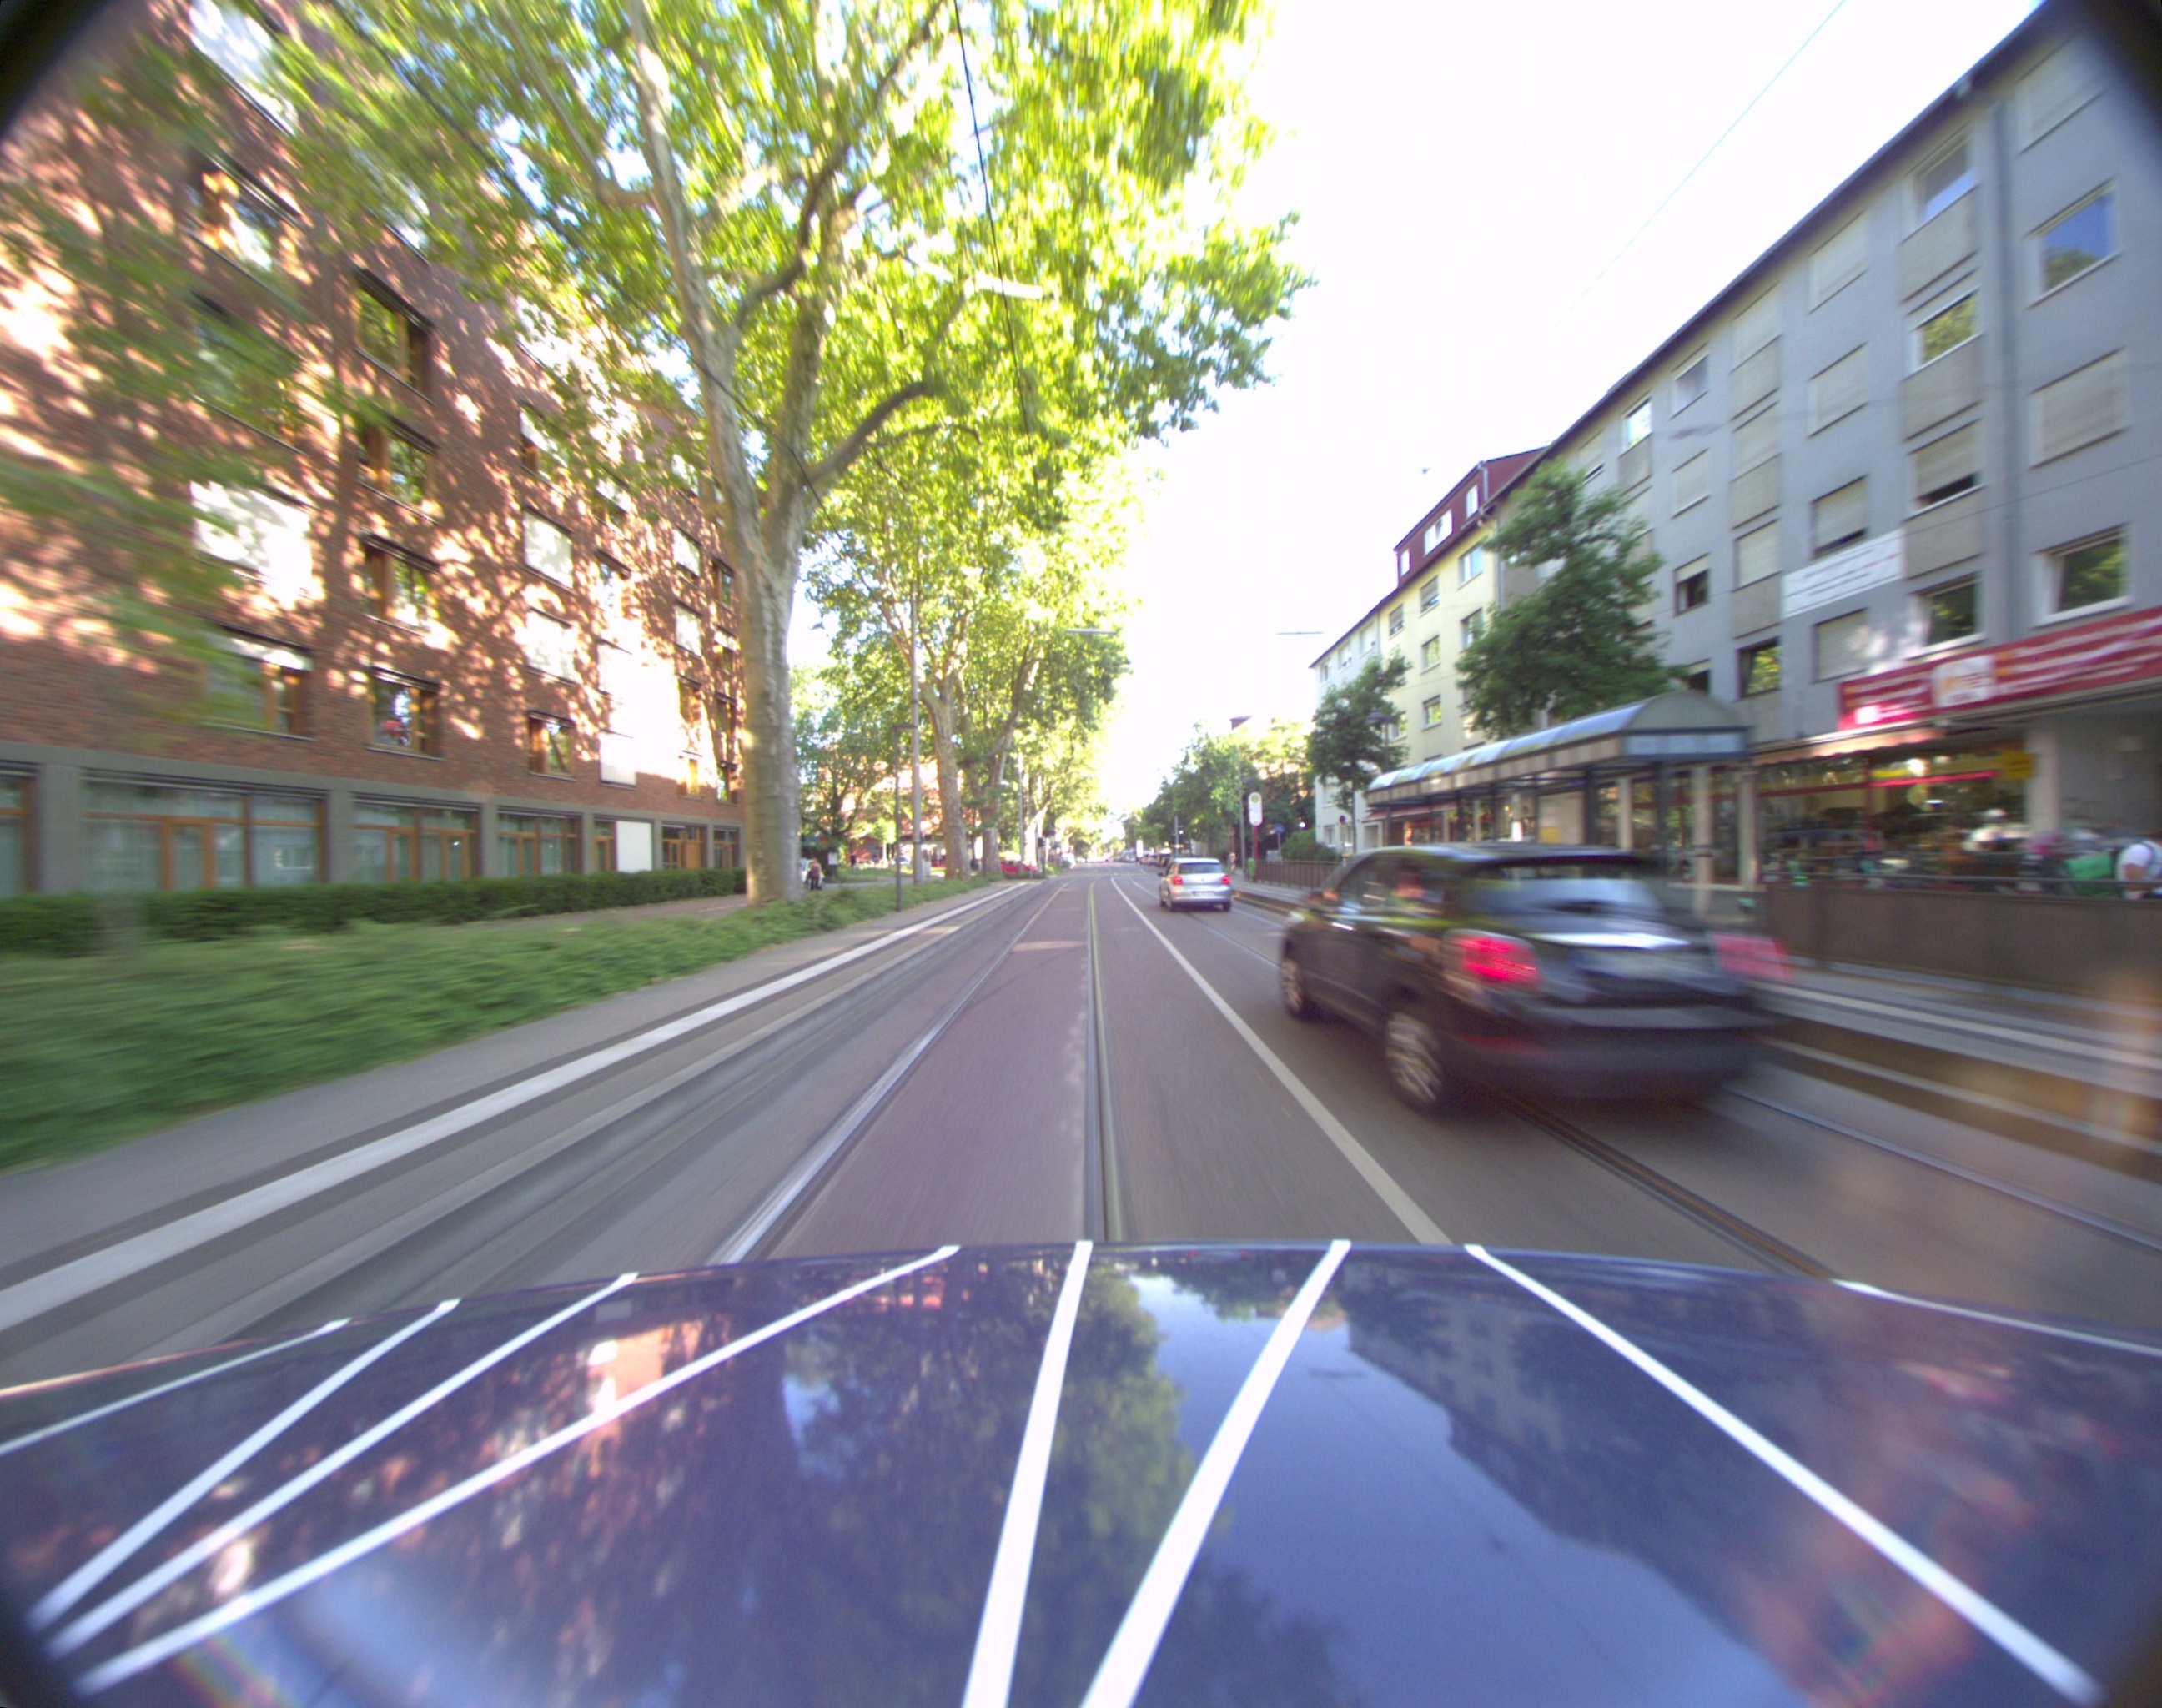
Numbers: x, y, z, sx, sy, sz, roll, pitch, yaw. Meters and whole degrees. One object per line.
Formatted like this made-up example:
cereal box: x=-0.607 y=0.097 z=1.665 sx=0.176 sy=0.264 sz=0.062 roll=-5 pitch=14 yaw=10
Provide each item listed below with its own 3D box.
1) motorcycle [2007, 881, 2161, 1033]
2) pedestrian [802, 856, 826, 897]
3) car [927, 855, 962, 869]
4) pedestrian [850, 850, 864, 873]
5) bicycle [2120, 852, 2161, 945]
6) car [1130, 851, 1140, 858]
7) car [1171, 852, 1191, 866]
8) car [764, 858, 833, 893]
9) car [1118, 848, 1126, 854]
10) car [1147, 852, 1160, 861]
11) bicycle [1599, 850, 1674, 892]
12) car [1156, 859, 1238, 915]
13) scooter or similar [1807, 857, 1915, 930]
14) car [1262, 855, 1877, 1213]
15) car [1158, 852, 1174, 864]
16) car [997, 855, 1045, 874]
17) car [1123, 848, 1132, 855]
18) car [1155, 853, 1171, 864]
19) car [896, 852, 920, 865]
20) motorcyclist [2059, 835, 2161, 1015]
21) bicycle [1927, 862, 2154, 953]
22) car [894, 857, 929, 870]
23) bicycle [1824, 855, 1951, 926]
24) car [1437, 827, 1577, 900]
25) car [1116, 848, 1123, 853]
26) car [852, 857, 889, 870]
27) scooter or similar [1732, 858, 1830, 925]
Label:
motorcycle: x=9.045 y=0.840 z=6.117 sx=0.851 sy=1.157 sz=1.915 roll=-1 pitch=0 yaw=0
pedestrian: x=-11.070 y=0.911 z=31.562 sx=0.710 sy=1.681 sz=0.748 roll=-1 pitch=1 yaw=-1
car: x=-15.864 y=0.942 z=88.664 sx=3.674 sy=1.521 sz=2.000 roll=-1 pitch=0 yaw=2
pedestrian: x=-16.619 y=0.561 z=56.351 sx=0.689 sy=1.704 sz=0.703 roll=-1 pitch=1 yaw=8
bicycle: x=13.679 y=0.551 z=8.921 sx=0.494 sy=1.150 sz=1.751 roll=-1 pitch=0 yaw=-5
car: x=12.427 y=0.180 z=173.538 sx=1.998 sy=1.521 sz=3.677 roll=-1 pitch=0 yaw=0
car: x=11.410 y=0.566 z=87.160 sx=1.998 sy=1.521 sz=3.678 roll=-1 pitch=0 yaw=3
car: x=-12.925 y=0.946 z=35.004 sx=1.657 sy=1.499 sz=3.961 roll=-1 pitch=0 yaw=1
car: x=11.681 y=-0.913 z=214.833 sx=1.998 sy=1.741 sz=3.677 roll=-1 pitch=0 yaw=0
car: x=11.624 y=0.399 z=121.991 sx=1.998 sy=1.521 sz=3.678 roll=-1 pitch=0 yaw=3
bicycle: x=16.264 y=0.478 z=22.319 sx=0.572 sy=1.150 sz=2.037 roll=-1 pitch=0 yaw=-5
car: x=3.225 y=0.880 z=21.821 sx=1.766 sy=1.417 sz=4.000 roll=-1 pitch=0 yaw=1
scooter or similar: x=13.103 y=0.636 z=12.801 sx=0.446 sy=1.167 sz=1.274 roll=-1 pitch=0 yaw=-5
car: x=2.703 y=0.818 z=5.442 sx=1.766 sy=1.579 sz=3.999 roll=-1 pitch=0 yaw=-1
car: x=11.524 y=0.569 z=102.841 sx=1.998 sy=1.521 sz=3.678 roll=-1 pitch=0 yaw=3
car: x=-5.044 y=0.908 z=64.521 sx=3.872 sy=1.521 sz=2.000 roll=-1 pitch=0 yaw=2
car: x=11.988 y=-0.741 z=196.463 sx=1.998 sy=1.741 sz=3.677 roll=-1 pitch=0 yaw=0
car: x=11.581 y=0.615 z=107.666 sx=1.998 sy=1.521 sz=3.678 roll=-1 pitch=0 yaw=3
car: x=-22.030 y=0.549 z=96.868 sx=1.998 sy=1.521 sz=3.678 roll=-1 pitch=0 yaw=3
motorcyclist: x=9.028 y=0.558 z=6.167 sx=0.875 sy=1.432 sz=1.016 roll=-1 pitch=0 yaw=0
bicycle: x=13.560 y=0.706 z=10.854 sx=0.572 sy=1.150 sz=2.037 roll=-1 pitch=0 yaw=-5
car: x=-19.768 y=1.087 z=88.735 sx=3.674 sy=1.521 sz=2.000 roll=-1 pitch=0 yaw=2
bicycle: x=14.093 y=0.607 z=13.347 sx=0.513 sy=1.150 sz=1.688 roll=-1 pitch=0 yaw=4
car: x=12.386 y=0.258 z=22.427 sx=1.808 sy=1.923 sz=4.049 roll=-1 pitch=0 yaw=-1
car: x=12.791 y=-1.153 z=251.181 sx=1.998 sy=1.741 sz=3.677 roll=-1 pitch=0 yaw=0
car: x=-24.578 y=1.118 z=88.781 sx=3.674 sy=1.521 sz=2.000 roll=-1 pitch=0 yaw=2
scooter or similar: x=12.979 y=0.670 z=14.120 sx=0.447 sy=1.167 sz=1.272 roll=-1 pitch=1 yaw=-36
